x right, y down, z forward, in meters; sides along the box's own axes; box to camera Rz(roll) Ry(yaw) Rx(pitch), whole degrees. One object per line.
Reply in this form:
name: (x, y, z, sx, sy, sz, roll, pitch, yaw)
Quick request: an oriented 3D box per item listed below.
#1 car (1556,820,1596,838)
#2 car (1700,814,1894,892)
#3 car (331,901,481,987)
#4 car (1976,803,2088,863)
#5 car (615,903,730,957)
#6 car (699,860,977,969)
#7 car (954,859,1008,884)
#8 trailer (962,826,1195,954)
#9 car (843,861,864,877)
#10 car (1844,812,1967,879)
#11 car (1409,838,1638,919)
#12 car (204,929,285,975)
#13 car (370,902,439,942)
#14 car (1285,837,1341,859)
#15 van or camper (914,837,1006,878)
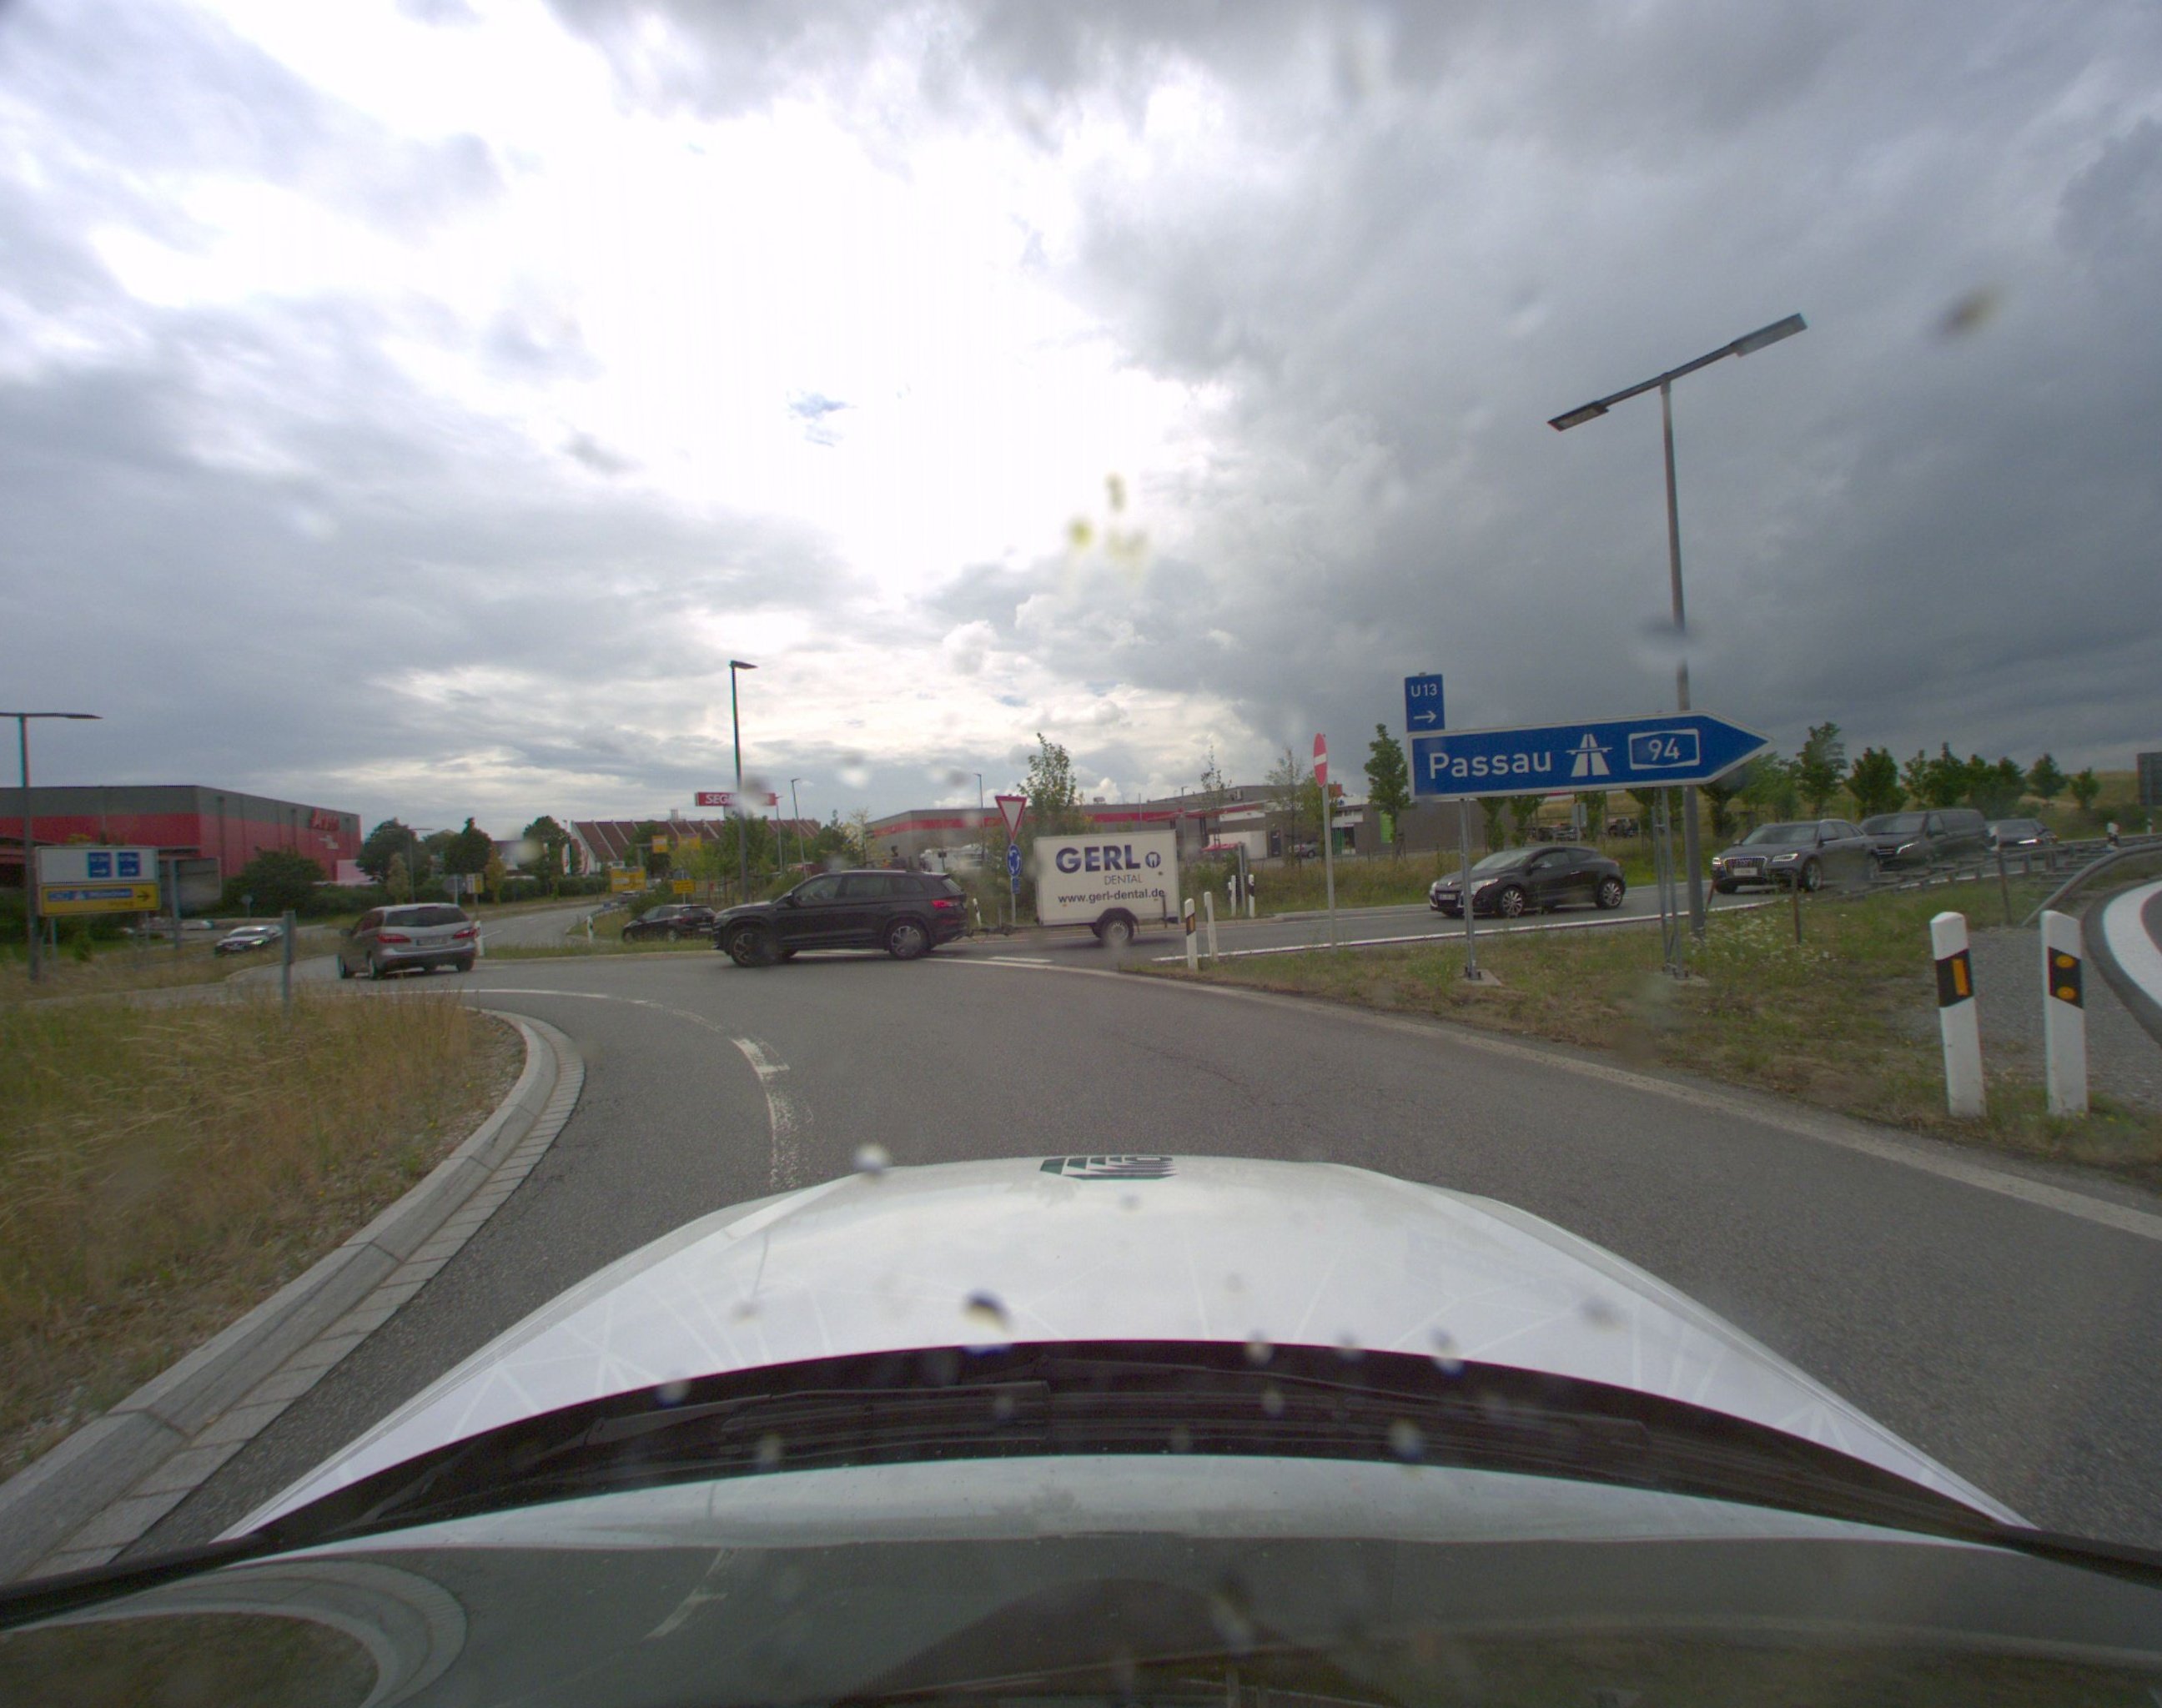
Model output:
car: (48.091, -2.443, 79.132, 3.674, 1.538, 1.781, -3, -2, -31)
car: (17.071, -0.030, 19.421, 4.284, 1.583, 1.868, -3, -2, -26)
car: (-15.463, 1.956, 18.598, 3.870, 1.616, 1.784, -3, 0, 38)
car: (33.308, -0.741, 28.516, 4.013, 1.883, 1.789, -3, -2, -30)
car: (-14.711, 2.683, 29.300, 3.686, 1.605, 1.888, -2, 3, 31)
car: (-4.384, 1.075, 15.264, 4.588, 1.670, 1.816, -3, -1, -2)
car: (-8.289, 1.408, 67.618, 4.068, 1.720, 1.766, -5, 1, -24)
trailer: (-0.108, 0.642, 15.585, 4.128, 2.091, 1.808, -3, -1, -7)
car: (-29.059, 1.886, 104.027, 1.709, 1.811, 3.935, -6, 1, -27)
car: (24.337, -0.288, 23.998, 4.766, 1.721, 1.703, -2, -2, -35)
car: (9.267, 0.490, 17.120, 4.143, 1.370, 1.832, -3, -2, -18)
car: (-41.374, 4.825, 40.398, 1.686, 1.772, 3.918, -3, 0, -29)
car: (-33.753, 3.340, 40.770, 1.918, 1.618, 3.962, -3, 0, -30)
car: (17.602, -0.439, 61.769, 4.011, 1.431, 1.654, -3, -1, -29)
van or camper: (-10.944, 0.289, 73.872, 7.760, 3.178, 2.469, -4, 1, -29)
